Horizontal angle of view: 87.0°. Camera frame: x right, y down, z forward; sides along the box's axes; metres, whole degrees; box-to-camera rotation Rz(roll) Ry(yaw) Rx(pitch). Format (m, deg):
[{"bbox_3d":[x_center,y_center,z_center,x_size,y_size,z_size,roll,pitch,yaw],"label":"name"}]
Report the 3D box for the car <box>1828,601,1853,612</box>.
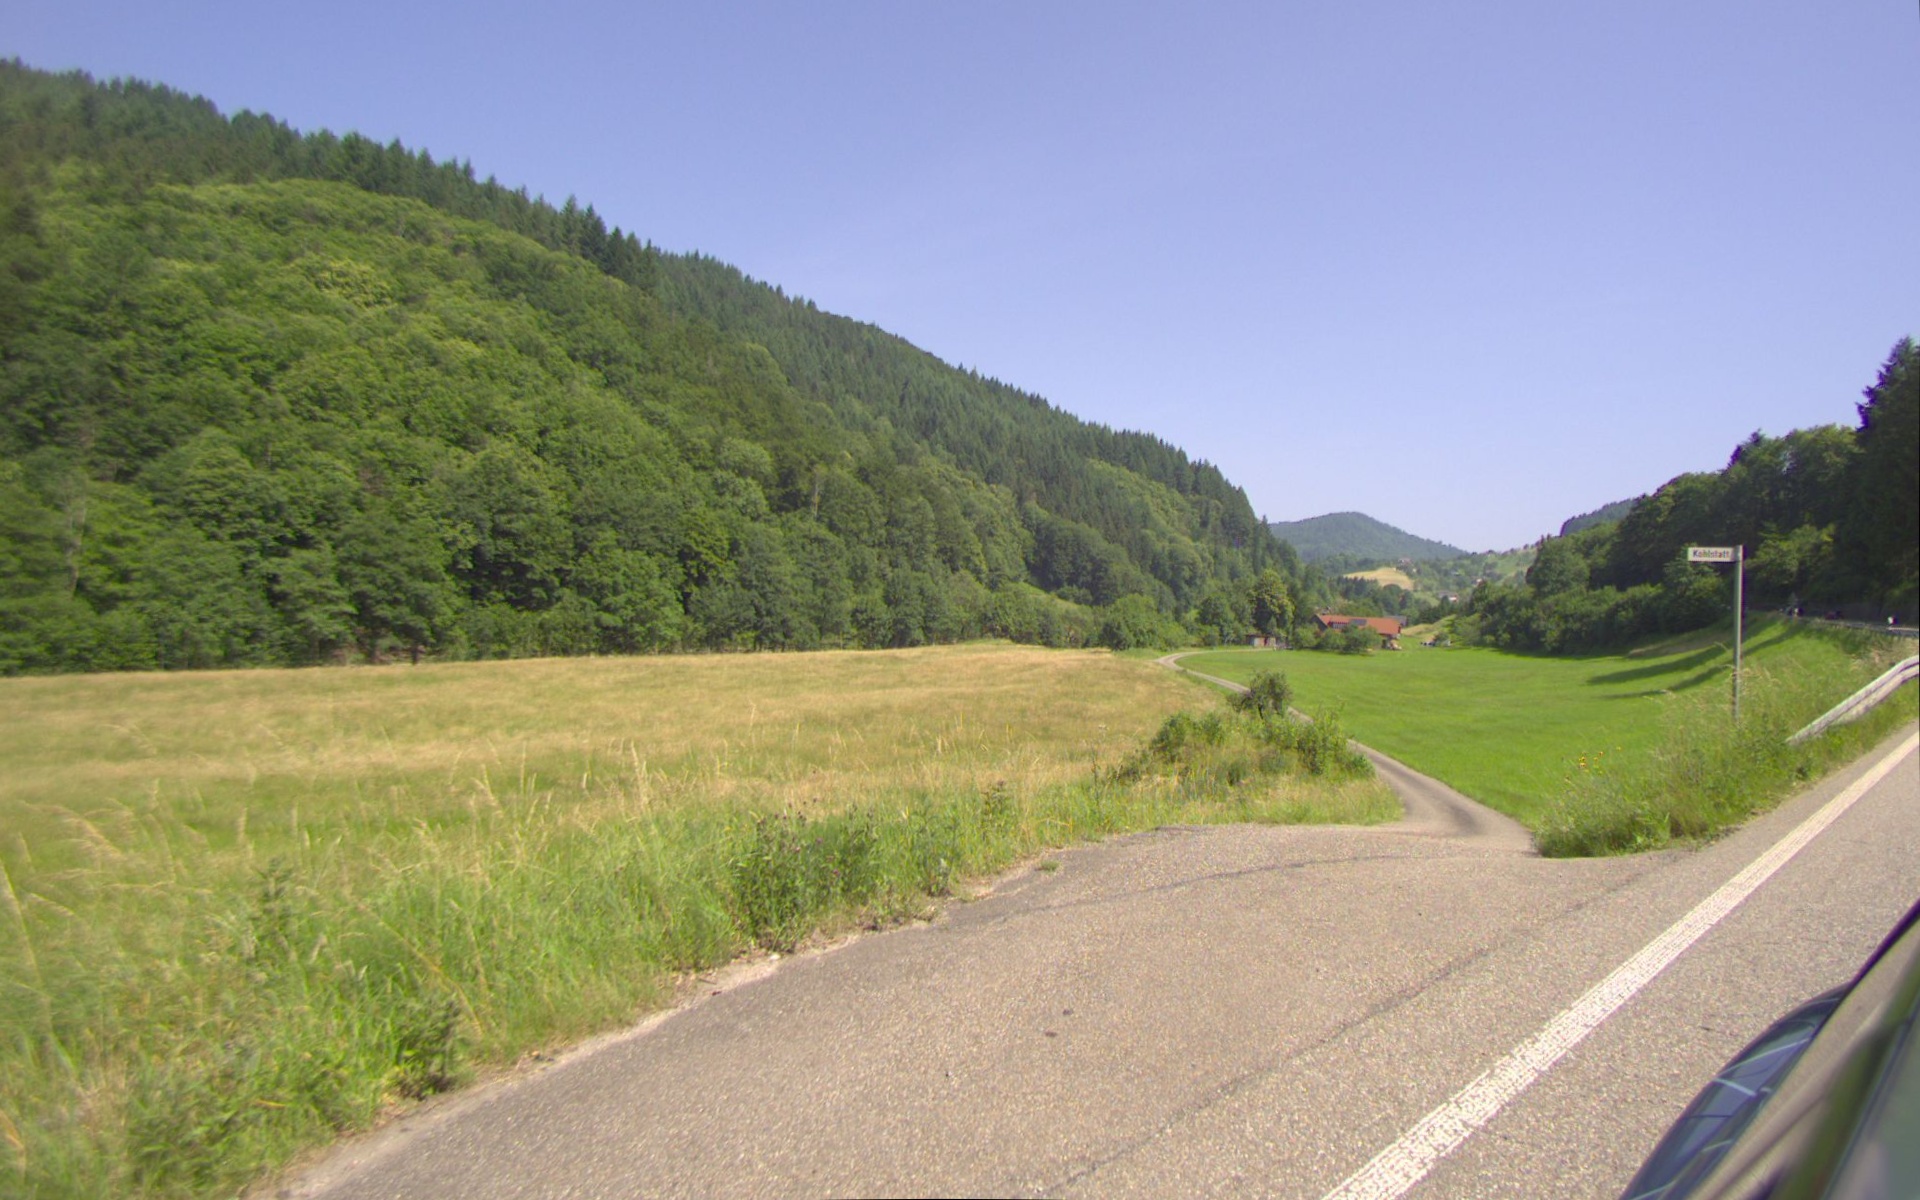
[{"bbox_3d":[116.313,0.865,133.719,1.756,1.414,4.100,0,1,31],"label":"car"}]
